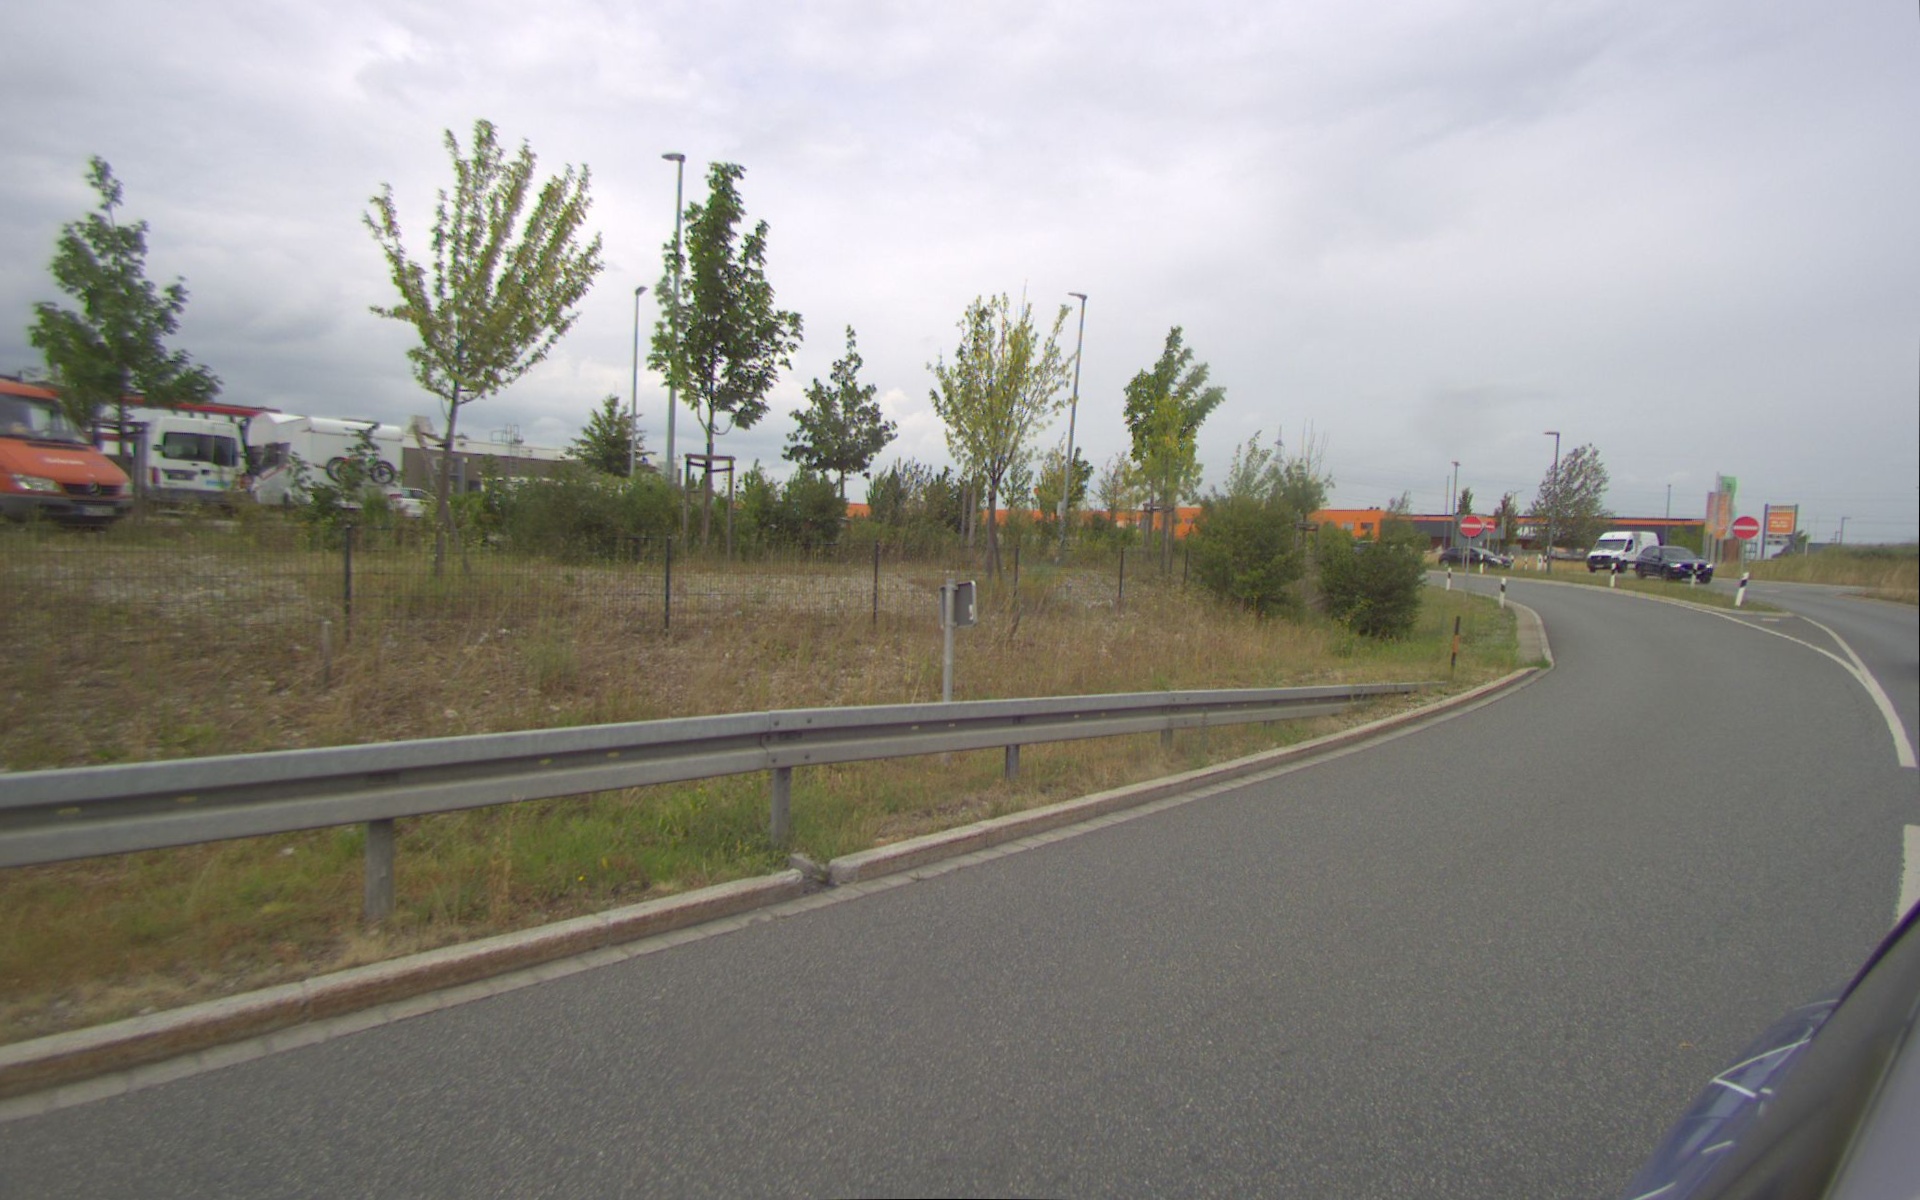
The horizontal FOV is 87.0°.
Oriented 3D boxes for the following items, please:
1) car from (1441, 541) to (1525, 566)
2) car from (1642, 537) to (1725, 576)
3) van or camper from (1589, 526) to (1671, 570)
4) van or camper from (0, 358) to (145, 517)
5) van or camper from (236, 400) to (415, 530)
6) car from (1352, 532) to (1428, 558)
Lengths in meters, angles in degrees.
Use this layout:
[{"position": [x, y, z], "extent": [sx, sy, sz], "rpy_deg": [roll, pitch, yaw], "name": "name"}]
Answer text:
[{"position": [31.054, -2.771, 60.186], "extent": [1.806, 1.386, 4.153], "rpy_deg": [-1, 4, -28], "name": "car"}, {"position": [34.319, -2.021, 48.123], "extent": [1.817, 1.741, 3.983], "rpy_deg": [0, 1, 14], "name": "car"}, {"position": [42.035, -3.225, 63.418], "extent": [5.932, 2.682, 2.334], "rpy_deg": [-1, 3, -37], "name": "van or camper"}, {"position": [-14.814, -2.453, 14.629], "extent": [4.591, 2.021, 1.813], "rpy_deg": [5, 2, 2], "name": "van or camper"}, {"position": [-18.596, -3.807, 29.413], "extent": [7.715, 3.216, 2.454], "rpy_deg": [6, 4, 43], "name": "van or camper"}, {"position": [28.478, -3.644, 67.071], "extent": [1.849, 1.601, 4.278], "rpy_deg": [-2, 5, -36], "name": "car"}]
